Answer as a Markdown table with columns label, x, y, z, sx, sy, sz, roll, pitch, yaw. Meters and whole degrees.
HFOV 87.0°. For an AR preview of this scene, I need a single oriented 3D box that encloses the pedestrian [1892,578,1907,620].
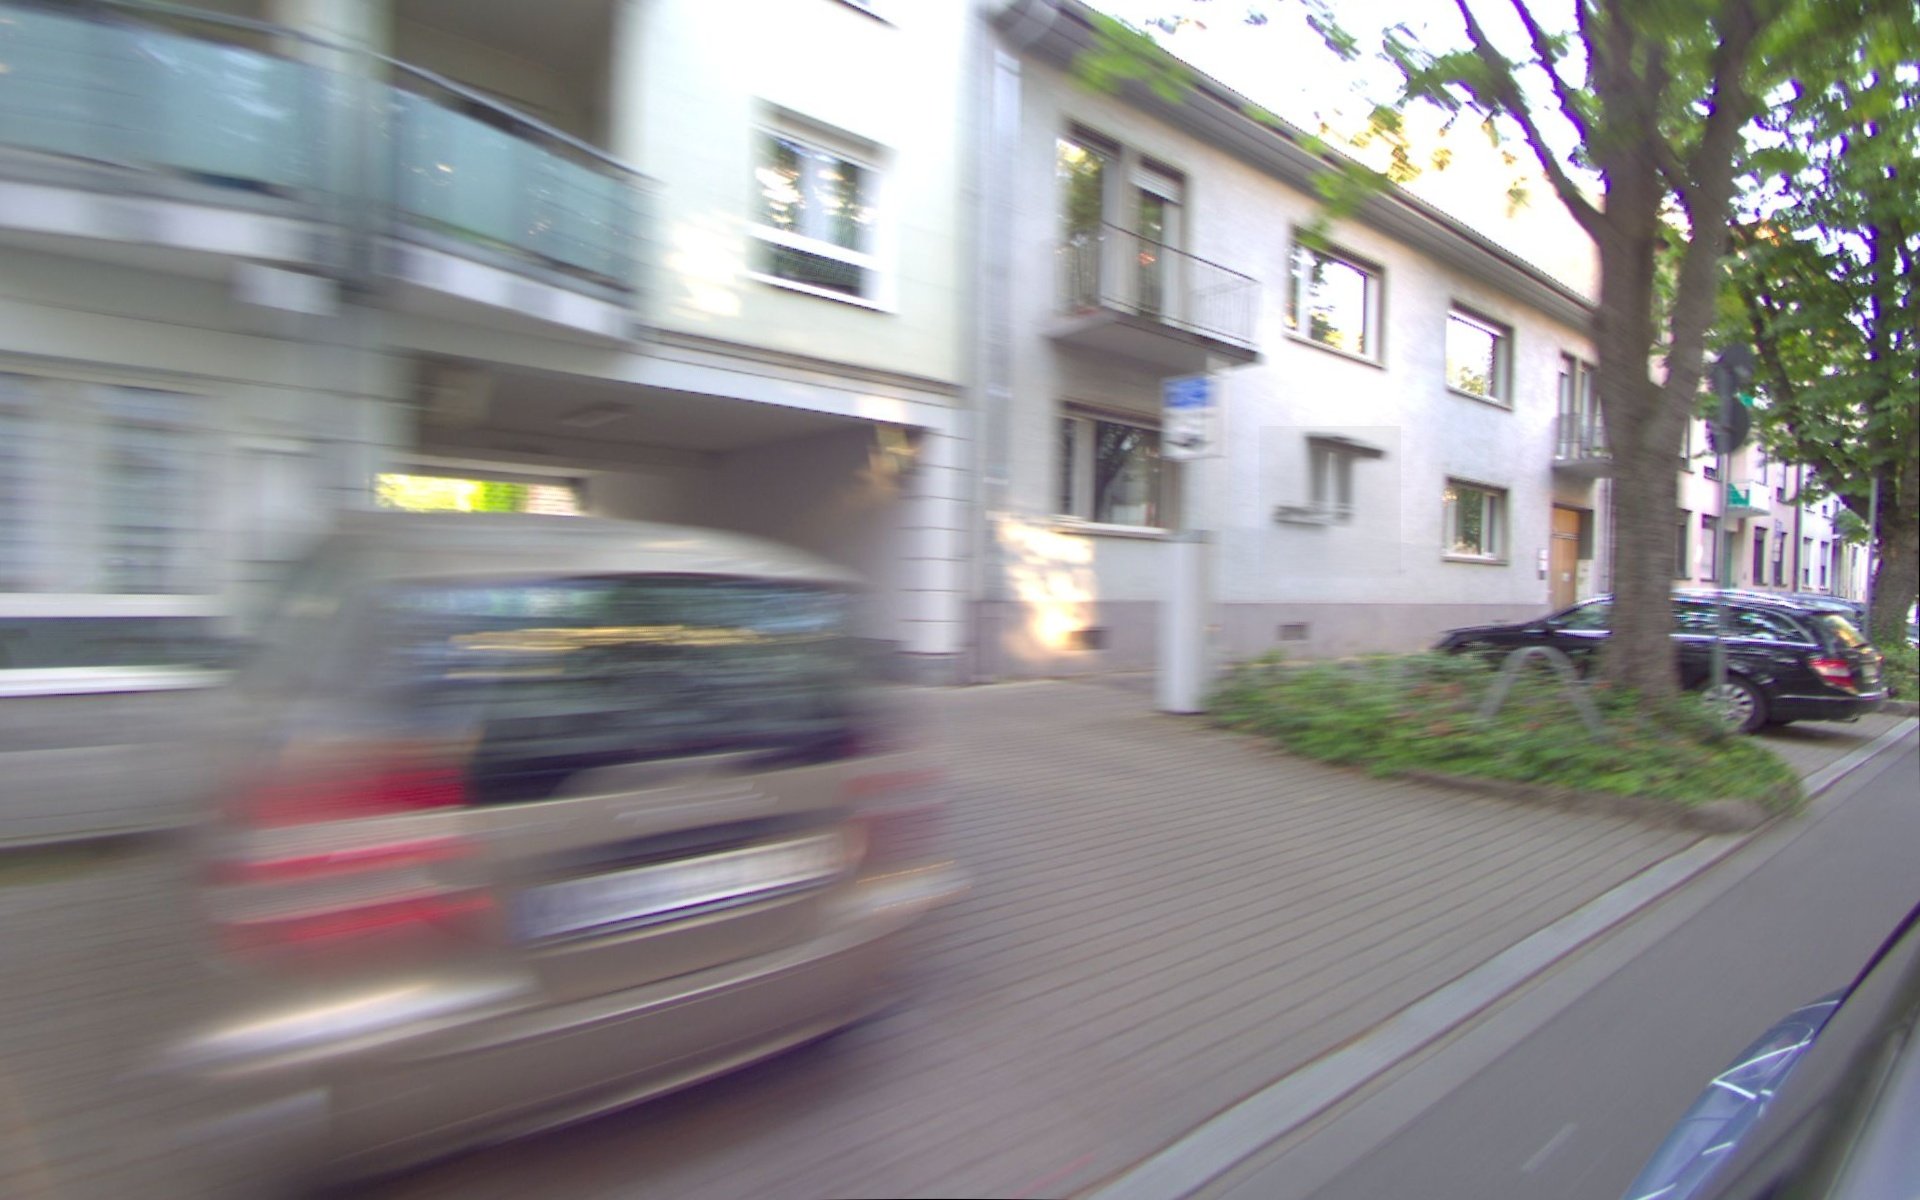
| label | x | y | z | sx | sy | sz | roll | pitch | yaw |
| --- | --- | --- | --- | --- | --- | --- | --- | --- | --- |
| pedestrian | 46.125 | -0.038 | 49.684 | 0.476 | 2.038 | 0.449 | 0 | 1 | -40 |

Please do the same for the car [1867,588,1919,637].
| label | x | y | z | sx | sy | sz | roll | pitch | yaw |
| --- | --- | --- | --- | --- | --- | --- | --- | --- | --- |
| car | 29.988 | 0.444 | 30.451 | 1.647 | 1.415 | 3.854 | 0 | 3 | -43 |

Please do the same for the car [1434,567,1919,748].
| label | x | y | z | sx | sy | sz | roll | pitch | yaw |
| --- | --- | --- | --- | --- | --- | --- | --- | --- | --- |
| car | 8.132 | 0.492 | 11.830 | 1.698 | 1.487 | 4.375 | 1 | 4 | -35 |

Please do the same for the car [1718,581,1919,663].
| label | x | y | z | sx | sy | sz | roll | pitch | yaw |
| --- | --- | --- | --- | --- | --- | --- | --- | --- | --- |
| car | 19.434 | 0.454 | 21.851 | 1.665 | 1.488 | 4.597 | 0 | 4 | -38 |

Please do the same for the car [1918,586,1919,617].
| label | x | y | z | sx | sy | sz | roll | pitch | yaw |
| --- | --- | --- | --- | --- | --- | --- | --- | --- | --- |
| car | 45.486 | 0.200 | 45.108 | 1.645 | 1.415 | 3.859 | 0 | 3 | -39 |

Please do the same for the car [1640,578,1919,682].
| label | x | y | z | sx | sy | sz | roll | pitch | yaw |
| --- | --- | --- | --- | --- | --- | --- | --- | --- | --- |
| car | 14.816 | 0.453 | 17.724 | 1.916 | 1.542 | 4.457 | 0 | 2 | -39 |

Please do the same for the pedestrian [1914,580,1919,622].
| label | x | y | z | sx | sy | sz | roll | pitch | yaw |
| --- | --- | --- | --- | --- | --- | --- | --- | --- | --- |
| pedestrian | 46.729 | 0.057 | 49.179 | 0.476 | 2.038 | 0.449 | 0 | 1 | -40 |

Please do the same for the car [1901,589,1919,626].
| label | x | y | z | sx | sy | sz | roll | pitch | yaw |
| --- | --- | --- | --- | --- | --- | --- | --- | --- | --- |
| car | 39.087 | 0.405 | 39.024 | 1.645 | 1.415 | 3.859 | 0 | 3 | -39 |

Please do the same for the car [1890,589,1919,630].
| label | x | y | z | sx | sy | sz | roll | pitch | yaw |
| --- | --- | --- | --- | --- | --- | --- | --- | --- | --- |
| car | 35.766 | 0.429 | 35.865 | 1.644 | 1.415 | 3.862 | 1 | 3 | -37 |

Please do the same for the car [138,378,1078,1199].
| label | x | y | z | sx | sy | sz | roll | pitch | yaw |
| --- | --- | --- | --- | --- | --- | --- | --- | --- | --- |
| car | -1.674 | 0.377 | 3.604 | 1.892 | 1.687 | 3.872 | 0 | 4 | -40 |
